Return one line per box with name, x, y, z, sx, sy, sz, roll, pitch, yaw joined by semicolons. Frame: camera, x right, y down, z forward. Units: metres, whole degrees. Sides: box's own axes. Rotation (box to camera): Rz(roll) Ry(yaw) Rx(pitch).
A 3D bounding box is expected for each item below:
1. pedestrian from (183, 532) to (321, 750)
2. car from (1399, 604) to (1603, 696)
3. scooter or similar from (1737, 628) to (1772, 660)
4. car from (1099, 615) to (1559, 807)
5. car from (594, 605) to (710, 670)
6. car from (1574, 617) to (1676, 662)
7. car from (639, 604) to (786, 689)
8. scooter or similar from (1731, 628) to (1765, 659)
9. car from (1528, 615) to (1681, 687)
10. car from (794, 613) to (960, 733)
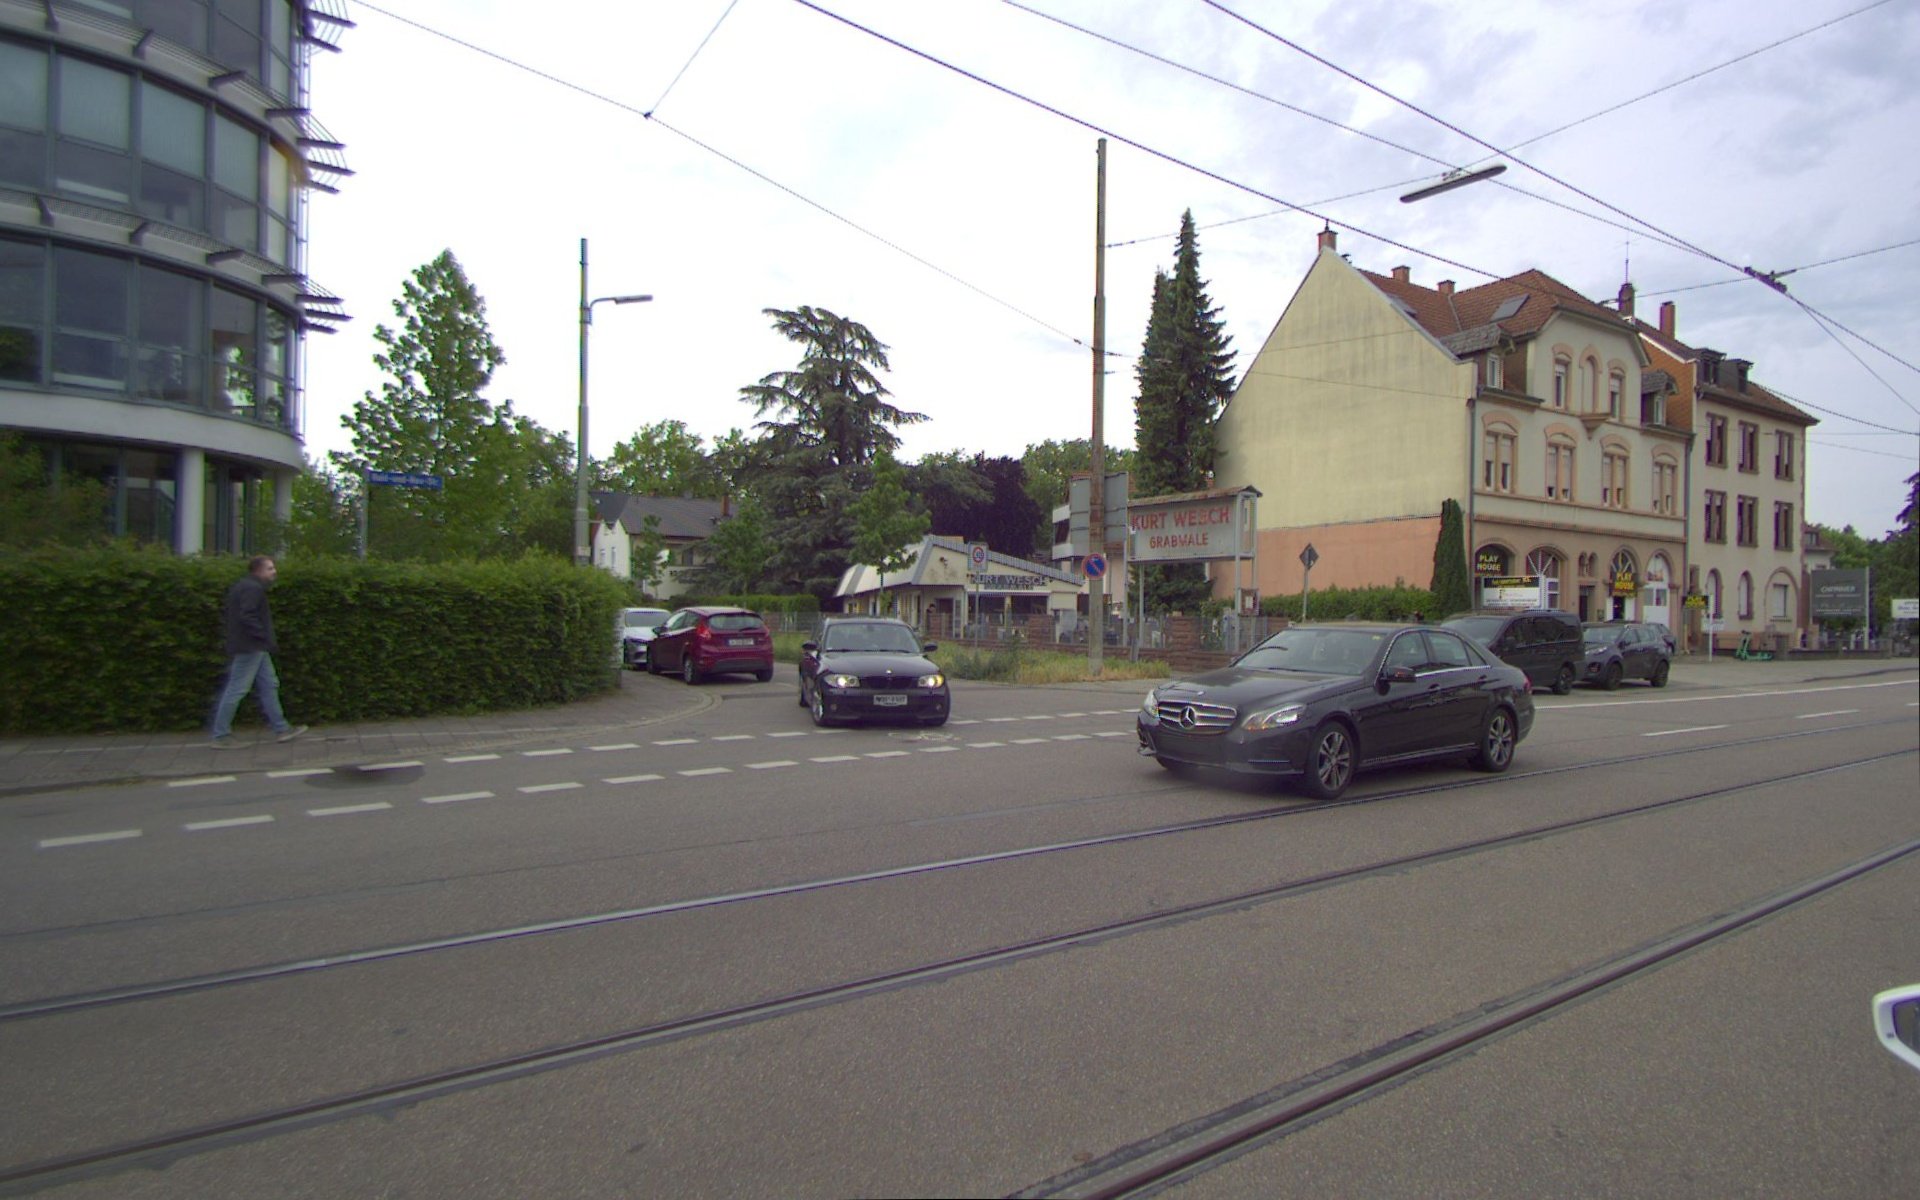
pedestrian;-6.980;0.398;9.955;0.978;2.040;0.707;2;0;-28
car;12.774;1.149;23.637;4.942;1.912;1.981;2;0;-32
scooter or similar;32.068;1.766;40.568;1.032;1.204;0.318;2;0;25
car;3.779;0.907;9.872;4.840;1.446;1.933;1;-1;-37
car;-7.532;0.882;24.295;1.811;1.439;3.968;2;-2;-30
car;24.238;1.434;36.583;3.706;1.520;1.743;2;0;-33
car;-5.076;0.853;20.295;1.749;1.437;3.687;-1;2;-33
scooter or similar;32.222;1.774;41.074;1.032;1.204;0.318;2;0;25
car;17.144;1.335;26.675;4.148;1.740;1.834;2;0;-33
car;-1.307;0.909;14.097;1.771;1.406;3.923;1;-1;-13
